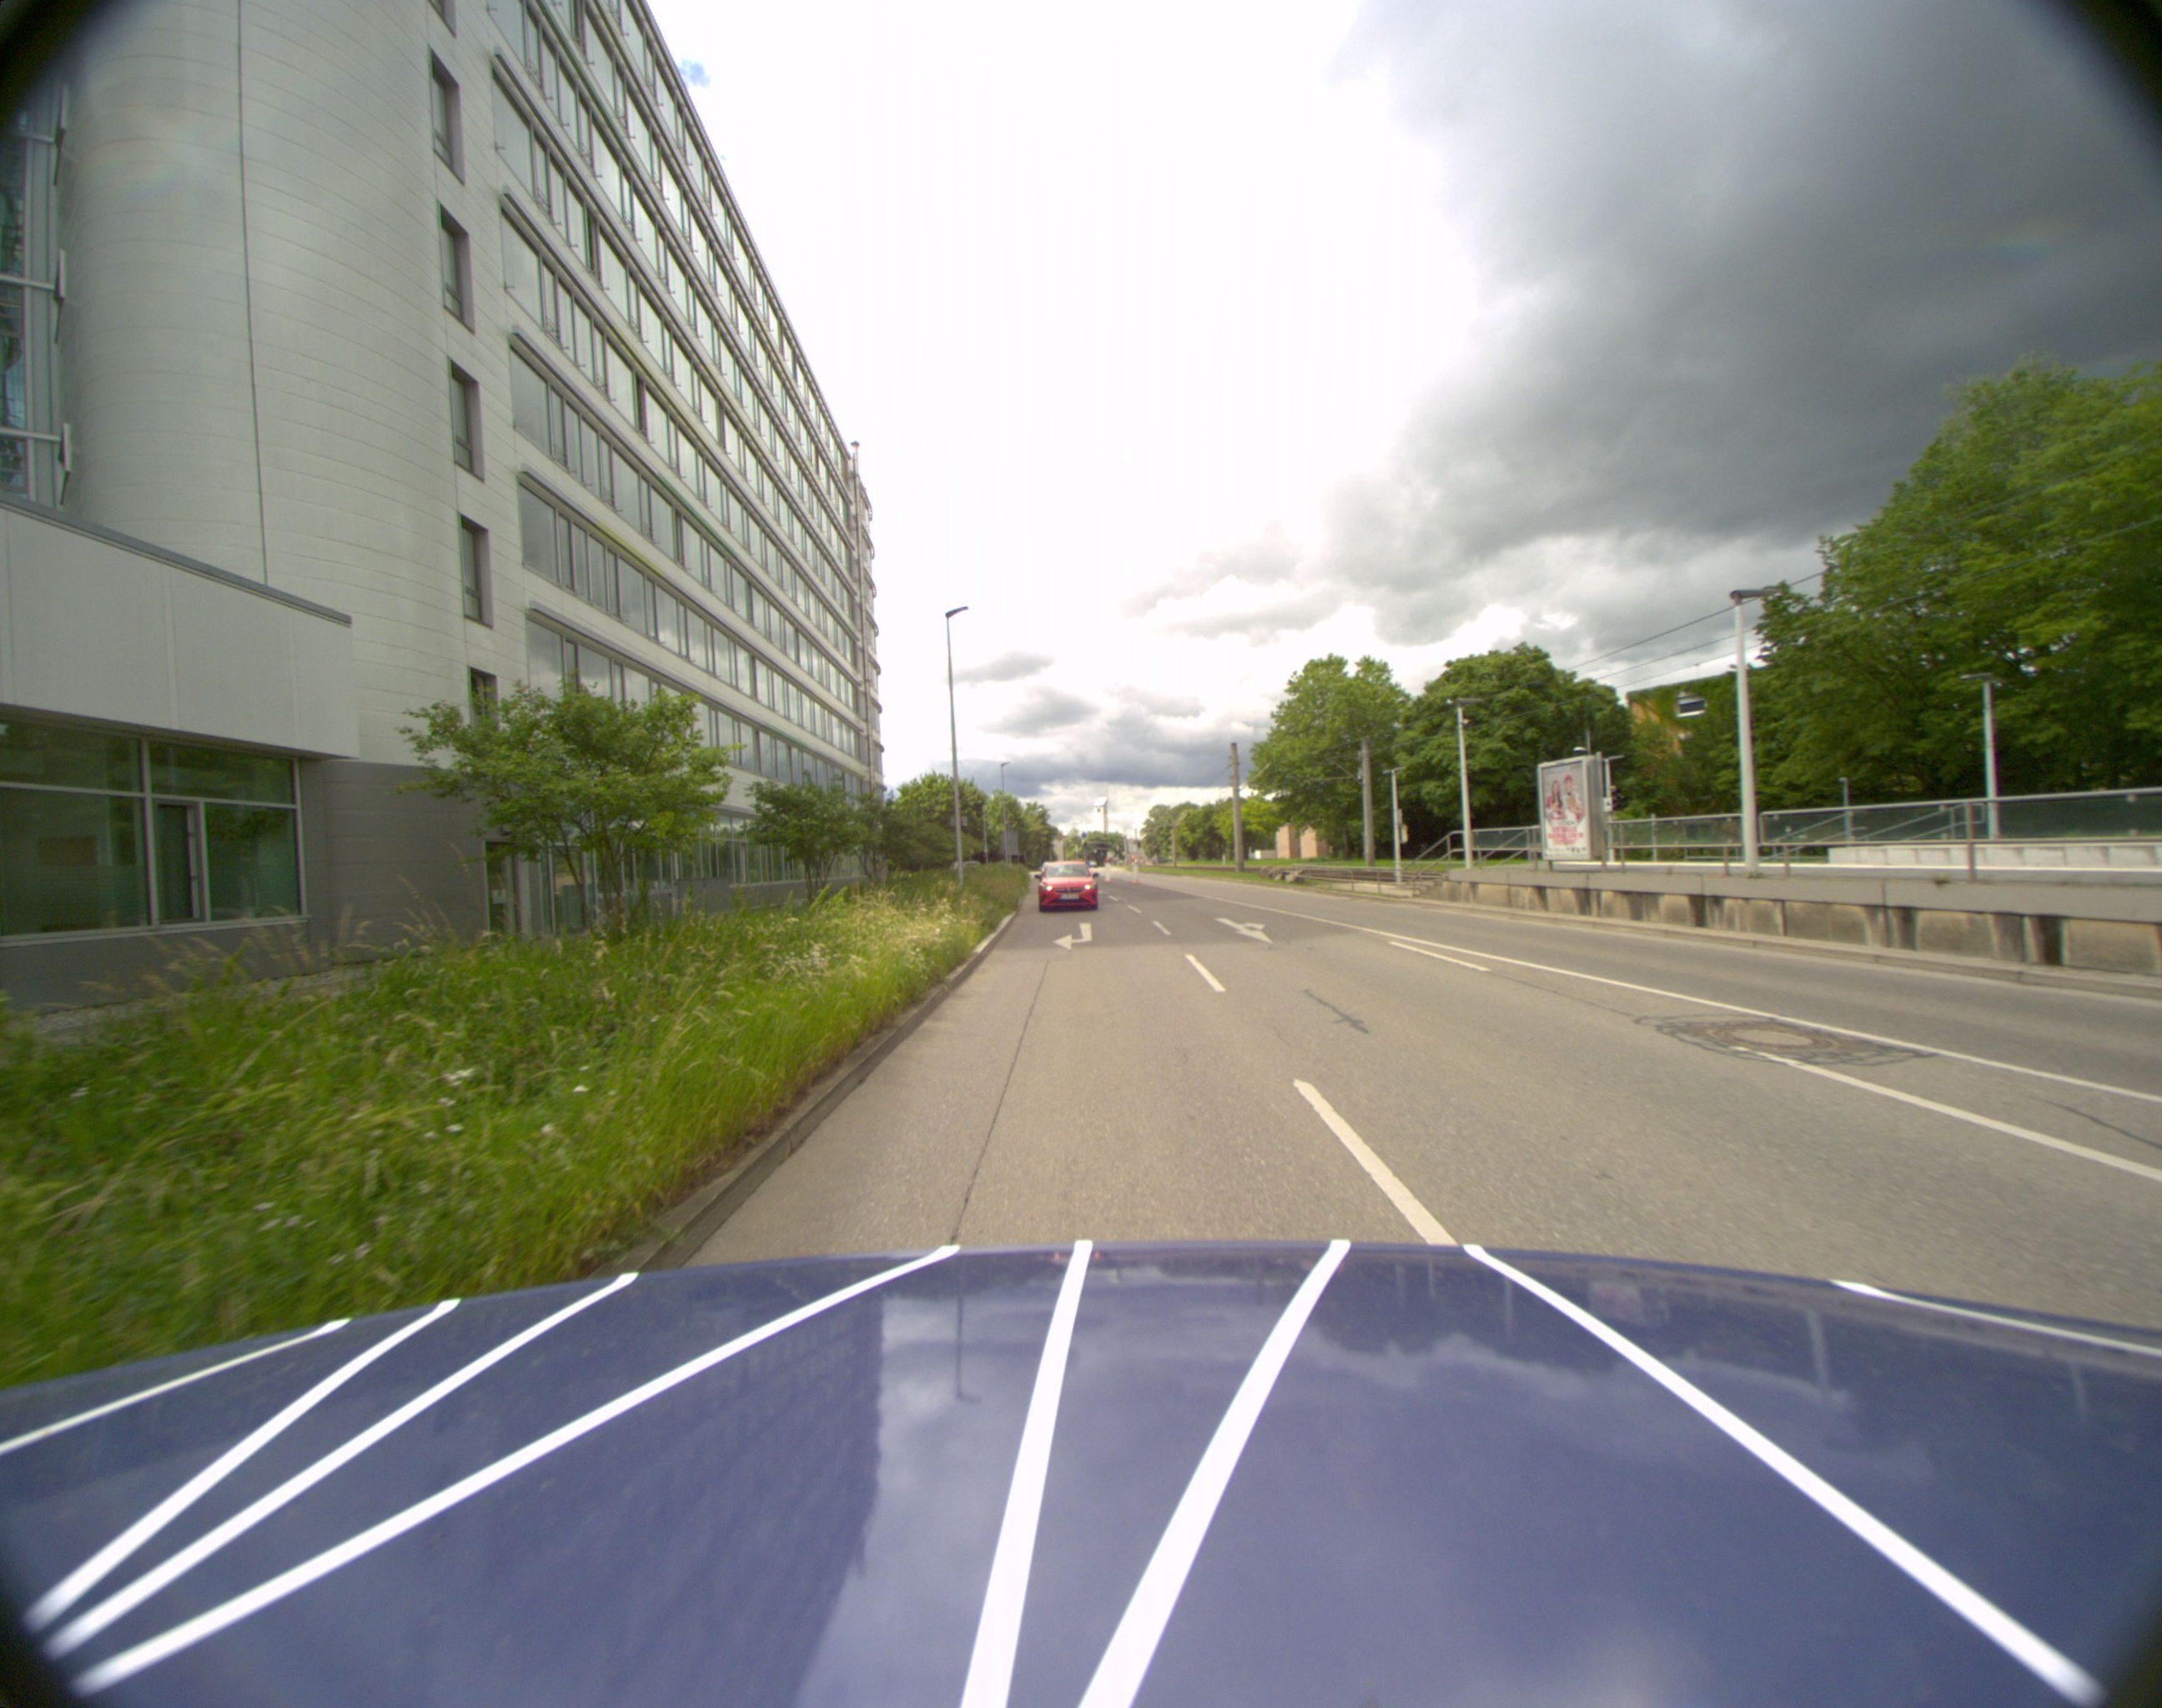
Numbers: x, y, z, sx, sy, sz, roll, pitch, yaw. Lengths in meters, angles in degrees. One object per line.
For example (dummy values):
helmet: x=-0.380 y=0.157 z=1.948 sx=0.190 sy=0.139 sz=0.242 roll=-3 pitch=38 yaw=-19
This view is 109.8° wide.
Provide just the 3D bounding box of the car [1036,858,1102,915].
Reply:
car: x=-0.371 y=0.920 z=23.669 sx=1.790 sy=1.453 sz=4.852 roll=-3 pitch=0 yaw=-1

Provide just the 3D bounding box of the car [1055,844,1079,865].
car: x=-1.108 y=-0.008 z=62.718 sx=1.841 sy=1.587 sz=4.000 roll=-3 pitch=0 yaw=1
